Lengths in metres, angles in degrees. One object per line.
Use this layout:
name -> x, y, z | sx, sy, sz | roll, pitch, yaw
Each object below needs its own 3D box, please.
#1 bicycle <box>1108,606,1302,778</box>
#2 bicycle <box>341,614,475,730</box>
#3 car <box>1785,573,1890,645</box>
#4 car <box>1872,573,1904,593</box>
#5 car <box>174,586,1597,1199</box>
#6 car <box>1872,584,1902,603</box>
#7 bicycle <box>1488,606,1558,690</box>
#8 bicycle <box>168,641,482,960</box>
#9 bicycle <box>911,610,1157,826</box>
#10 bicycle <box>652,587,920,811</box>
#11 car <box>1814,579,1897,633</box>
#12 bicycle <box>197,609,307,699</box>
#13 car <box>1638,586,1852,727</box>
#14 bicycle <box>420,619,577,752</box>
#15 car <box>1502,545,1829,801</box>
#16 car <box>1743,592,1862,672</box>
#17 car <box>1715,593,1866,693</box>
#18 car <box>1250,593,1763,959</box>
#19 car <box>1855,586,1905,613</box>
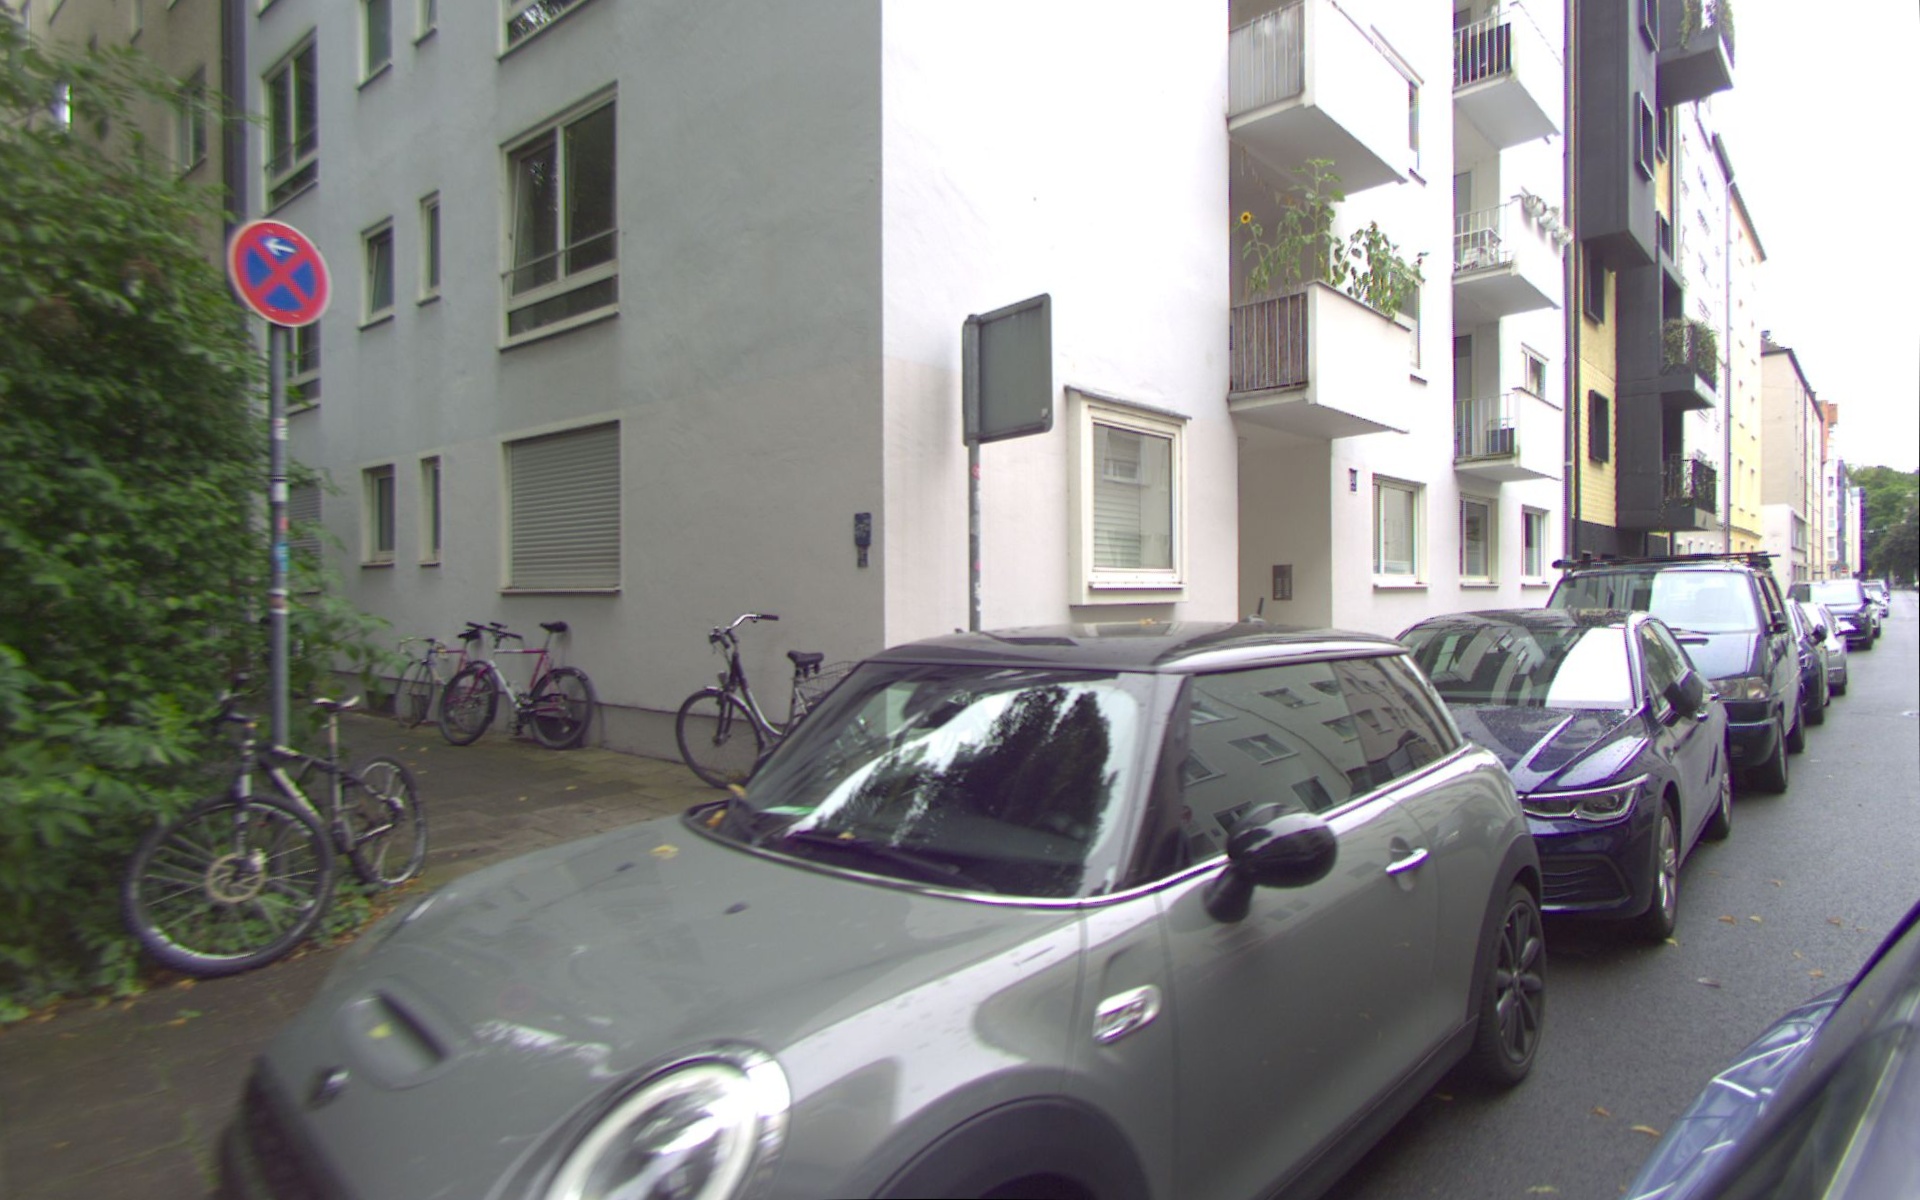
bicycle -> 2.102, 0.678, 8.435 | 0.622, 1.235, 2.215 | -1, -1, 41
bicycle -> -5.382, 0.655, 9.827 | 1.692, 1.036, 0.532 | -1, -1, 38
car -> 24.942, 0.210, 28.691 | 1.982, 1.862, 5.103 | -3, -1, 43
car -> 75.817, -1.391, 82.688 | 1.891, 1.651, 4.229 | 0, 1, 43
car -> 0.333, 0.694, 2.915 | 1.744, 1.459, 3.936 | 1, 1, 45
car -> 81.524, -0.587, 89.012 | 1.891, 1.651, 4.229 | 0, 1, 43
bicycle -> 8.341, 0.686, 14.971 | 0.570, 1.165, 1.408 | -1, 0, 43
bicycle -> -2.665, 0.750, 4.451 | 0.442, 1.069, 1.636 | -1, 0, -4
bicycle -> 0.555, 0.699, 6.801 | 0.559, 1.235, 1.887 | -1, -1, 44
bicycle -> -1.151, 0.562, 6.424 | 1.843, 1.245, 0.570 | -1, -1, 37
car -> 30.240, 0.154, 34.142 | 1.961, 1.695, 4.471 | 0, 1, 43
bicycle -> -8.754, 0.636, 12.488 | 1.692, 1.036, 0.644 | -1, -1, 38
car -> 10.871, 0.620, 13.879 | 1.905, 1.573, 4.553 | 0, 1, 43
bicycle -> -4.010, 0.688, 8.741 | 1.692, 1.036, 0.532 | -1, -1, 38
car -> 6.825, 0.473, 9.539 | 1.874, 1.813, 4.708 | 0, 1, 43
car -> 17.548, 0.588, 21.003 | 1.733, 1.447, 4.139 | 0, 1, 42
car -> 14.380, 0.684, 17.446 | 1.758, 1.449, 4.197 | -4, -2, 42
car -> 3.541, 0.692, 6.167 | 1.833, 1.437, 3.996 | 1, 1, 43
car -> 50.513, -0.069, 55.569 | 1.966, 1.394, 4.229 | 0, 1, 43
